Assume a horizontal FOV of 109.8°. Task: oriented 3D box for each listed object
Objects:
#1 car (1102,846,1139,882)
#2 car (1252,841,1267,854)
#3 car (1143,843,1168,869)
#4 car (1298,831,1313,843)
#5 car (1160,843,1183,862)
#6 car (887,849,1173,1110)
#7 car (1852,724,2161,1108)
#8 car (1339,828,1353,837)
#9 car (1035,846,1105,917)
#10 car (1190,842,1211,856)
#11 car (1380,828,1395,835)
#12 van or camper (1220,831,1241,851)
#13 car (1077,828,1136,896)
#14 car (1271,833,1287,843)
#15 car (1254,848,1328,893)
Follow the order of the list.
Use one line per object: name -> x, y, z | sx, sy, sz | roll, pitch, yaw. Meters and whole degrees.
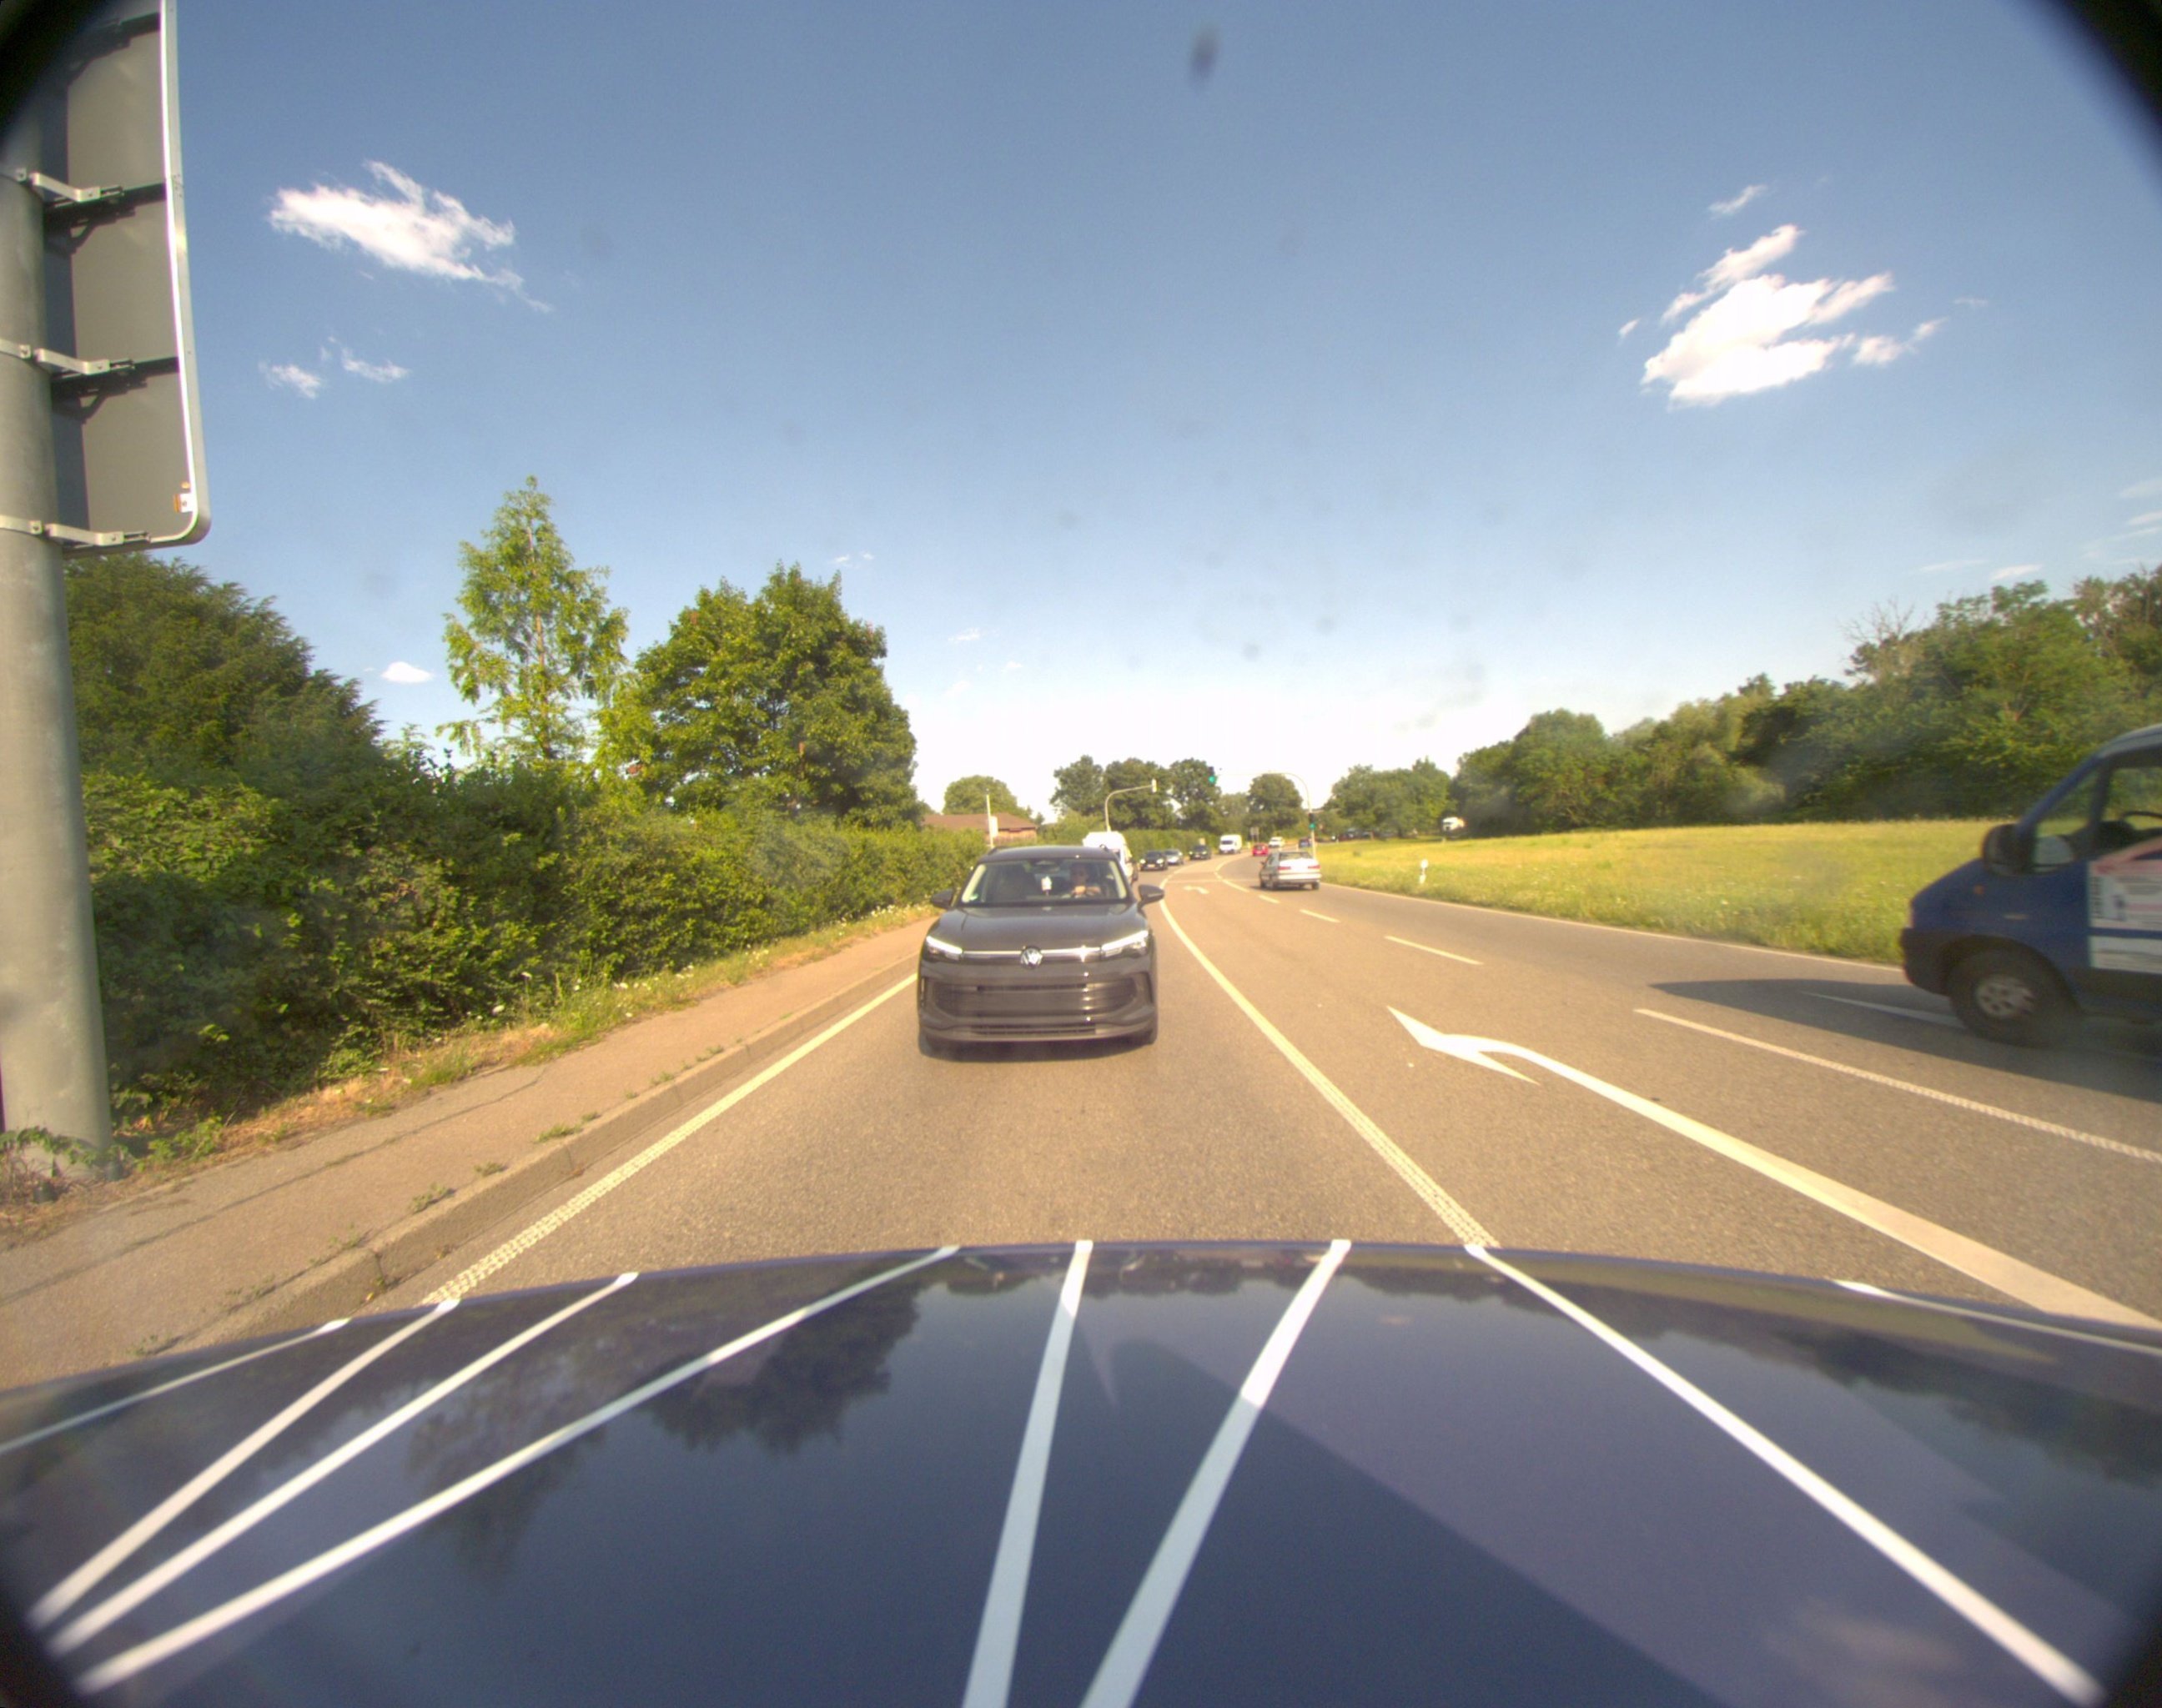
car -> 2.061, 0.461, 38.705 | 1.693, 1.718, 3.669 | -1, 1, 6
car -> 21.415, -0.779, 91.065 | 1.587, 1.458, 3.611 | -1, 0, 15
car -> 5.473, 0.113, 55.559 | 1.672, 1.718, 3.669 | 0, 2, 9
car -> 37.813, -2.852, 127.891 | 1.726, 1.871, 4.342 | -1, 0, 24
car -> 8.031, -0.172, 67.212 | 1.633, 1.550, 3.419 | -1, 2, 14
car -> -0.339, 0.824, 7.060 | 1.866, 1.633, 3.999 | -1, 2, 0
car -> 6.938, 0.308, 3.475 | 2.003, 2.124, 4.779 | -3, 0, 2
car -> 55.899, -4.599, 160.364 | 1.881, 1.765, 4.330 | -1, 0, 33
car -> -0.215, 0.653, 20.507 | 1.659, 1.720, 3.804 | -1, 1, 2
car -> 12.849, -0.553, 81.785 | 1.605, 1.471, 3.621 | 0, 1, 19
car -> 73.892, -5.419, 183.325 | 1.881, 1.577, 4.339 | -1, 1, 44
van or camper -> 20.438, -1.784, 103.797 | 2.031, 2.461, 5.083 | -4, 1, 18
car -> 1.077, 0.265, 29.226 | 1.843, 2.338, 4.791 | -1, 1, 6
car -> 34.558, -2.764, 132.524 | 1.671, 1.471, 3.500 | -4, 1, 33
car -> 7.561, 0.542, 27.744 | 1.710, 1.420, 4.179 | -3, 0, 4
